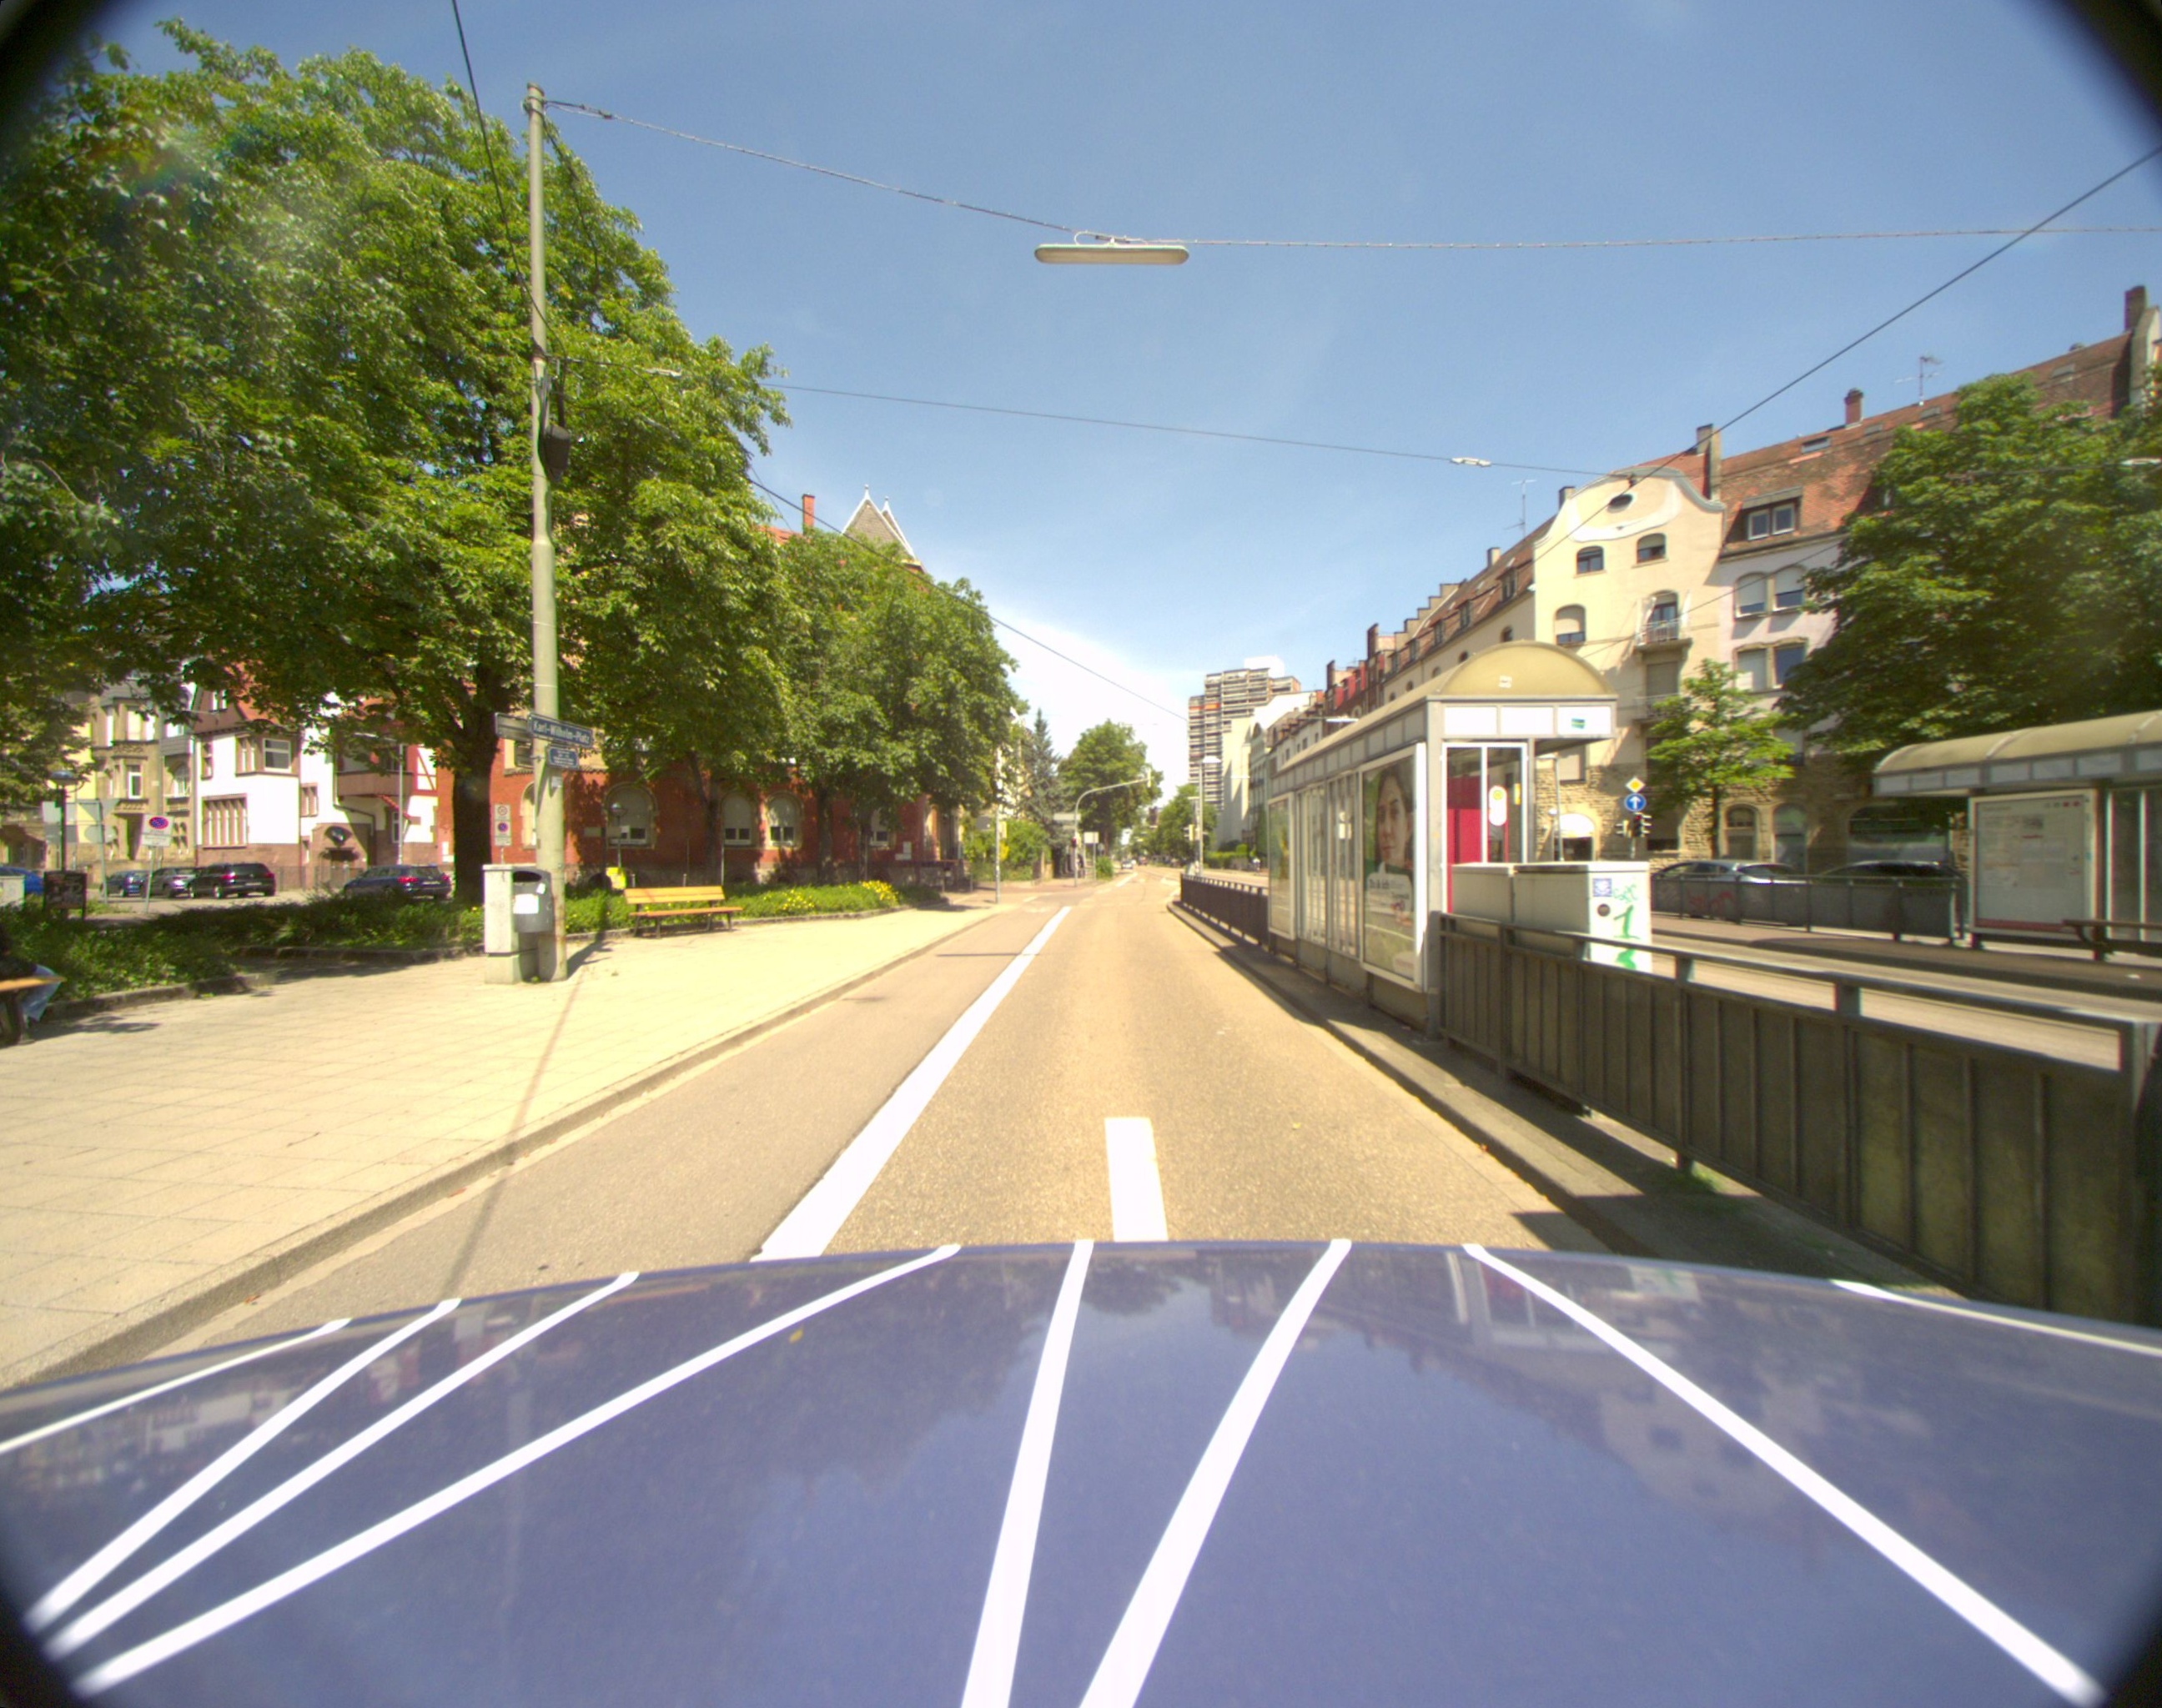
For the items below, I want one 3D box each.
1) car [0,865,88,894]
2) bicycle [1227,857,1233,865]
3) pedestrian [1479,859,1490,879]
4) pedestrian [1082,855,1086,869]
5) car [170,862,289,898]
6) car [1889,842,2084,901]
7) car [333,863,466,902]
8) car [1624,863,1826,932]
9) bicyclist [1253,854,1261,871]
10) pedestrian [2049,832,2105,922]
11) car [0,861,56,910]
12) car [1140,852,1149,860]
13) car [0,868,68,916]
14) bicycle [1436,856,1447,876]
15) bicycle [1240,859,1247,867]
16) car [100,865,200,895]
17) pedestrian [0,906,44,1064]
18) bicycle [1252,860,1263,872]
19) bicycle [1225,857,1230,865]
[{"bbox_3d":[-59.623,1.439,43.640,4.391,1.547,1.908,-1,1,21],"label":"car"},{"bbox_3d":[19.152,0.906,97.672,0.493,1.090,2.047,-1,0,1],"label":"bicycle"},{"bbox_3d":[22.754,0.841,42.861,0.406,1.142,0.405,-1,1,-2],"label":"pedestrian"},{"bbox_3d":[0.374,0.990,92.807,0.547,1.683,0.755,0,1,1],"label":"pedestrian"},{"bbox_3d":[-40.087,1.211,35.769,5.477,1.523,1.991,-1,1,22],"label":"car"},{"bbox_3d":[26.797,0.479,22.591,1.585,1.566,3.578,-2,1,-34],"label":"car"},{"bbox_3d":[-27.195,1.120,30.323,4.748,1.433,1.908,-1,1,21],"label":"car"},{"bbox_3d":[14.756,0.936,17.685,1.544,1.331,3.718,-1,1,0],"label":"car"},{"bbox_3d":[16.596,0.797,71.477,0.609,1.565,0.585,-1,1,1],"label":"bicyclist"},{"bbox_3d":[21.101,0.476,16.105,0.511,1.868,0.494,-1,1,6],"label":"pedestrian"},{"bbox_3d":[-37.296,1.045,24.784,1.723,1.642,4.273,-1,-1,20],"label":"car"},{"bbox_3d":[15.321,0.546,183.316,1.848,1.926,4.823,1,1,2],"label":"car"},{"bbox_3d":[-32.854,1.125,21.988,1.723,1.421,3.895,-1,-1,20],"label":"car"},{"bbox_3d":[23.084,0.774,48.667,0.454,1.218,2.083,-1,1,21],"label":"bicycle"},{"bbox_3d":[18.872,1.078,88.236,0.463,0.943,1.954,-1,0,1],"label":"bicycle"},{"bbox_3d":[-48.625,1.364,39.684,4.605,1.456,1.908,-1,1,21],"label":"car"},{"bbox_3d":[-7.802,0.921,5.287,0.510,1.085,0.478,1,0,7],"label":"pedestrian"},{"bbox_3d":[16.597,1.126,71.533,0.629,1.150,1.978,-1,0,1],"label":"bicycle"},{"bbox_3d":[19.256,0.907,99.834,0.290,1.040,1.900,-1,1,1],"label":"bicycle"}]
